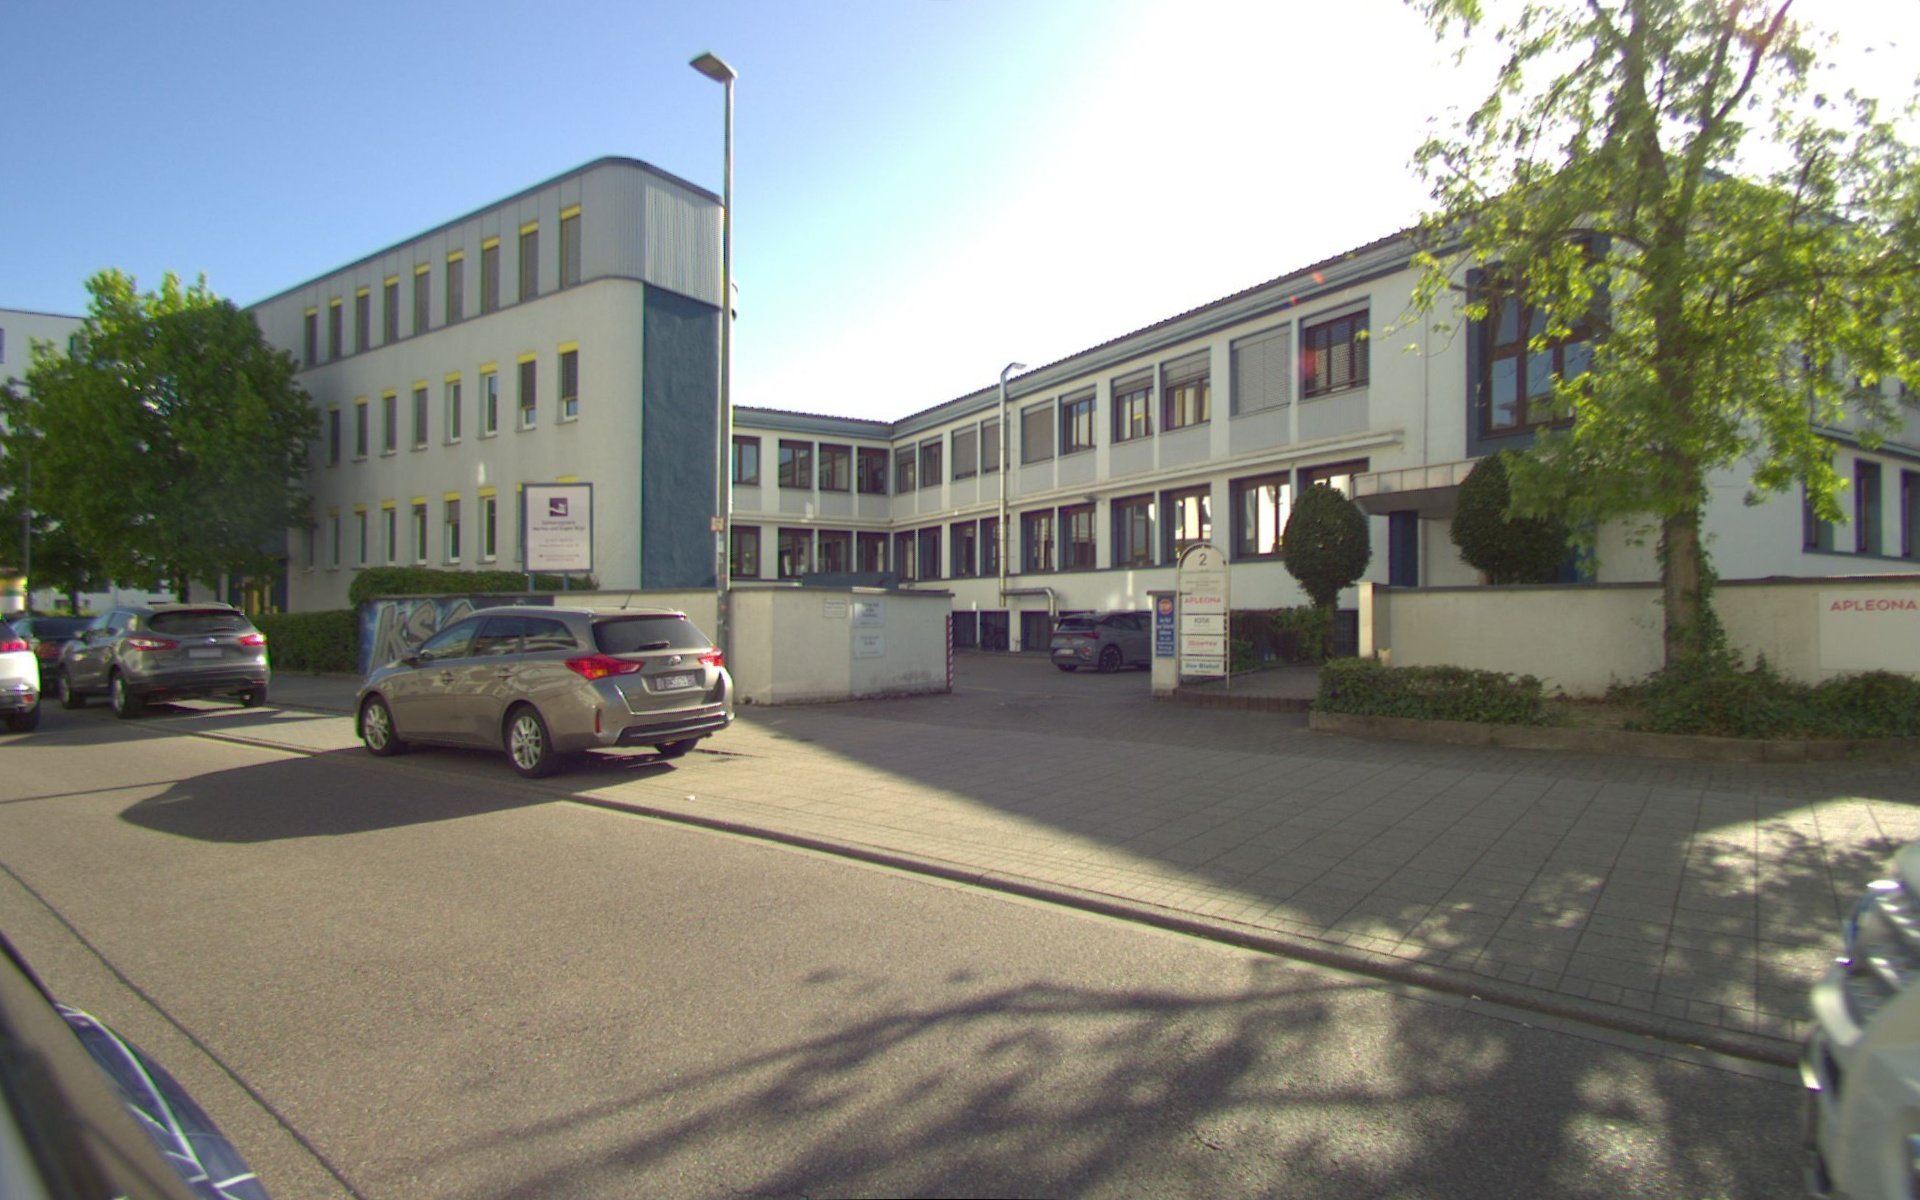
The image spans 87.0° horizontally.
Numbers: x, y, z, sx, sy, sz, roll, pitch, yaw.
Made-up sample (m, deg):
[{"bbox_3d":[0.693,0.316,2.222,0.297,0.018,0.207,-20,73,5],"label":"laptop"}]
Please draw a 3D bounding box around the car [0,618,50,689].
[{"bbox_3d":[-21.538,1.136,22.015,3.987,1.451,1.585,-1,-1,33],"label":"car"}]

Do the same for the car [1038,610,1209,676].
[{"bbox_3d":[4.255,1.050,26.099,4.266,1.552,1.929,0,-2,-37],"label":"car"}]

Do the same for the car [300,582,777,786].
[{"bbox_3d":[-4.258,0.692,9.905,4.905,1.546,1.977,-1,-1,34],"label":"car"}]

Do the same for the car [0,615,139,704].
[{"bbox_3d":[-17.116,1.046,18.892,4.430,1.476,1.710,-1,-1,36],"label":"car"}]

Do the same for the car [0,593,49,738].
[{"bbox_3d":[-13.593,0.830,13.097,4.329,1.737,1.901,-2,-2,37],"label":"car"}]

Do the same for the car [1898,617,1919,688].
[{"bbox_3d":[21.278,1.124,19.915,1.970,1.408,4.004,1,1,-43],"label":"car"}]

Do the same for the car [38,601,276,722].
[{"bbox_3d":[-12.204,0.849,15.292,4.412,1.598,1.704,-1,-1,36],"label":"car"}]
